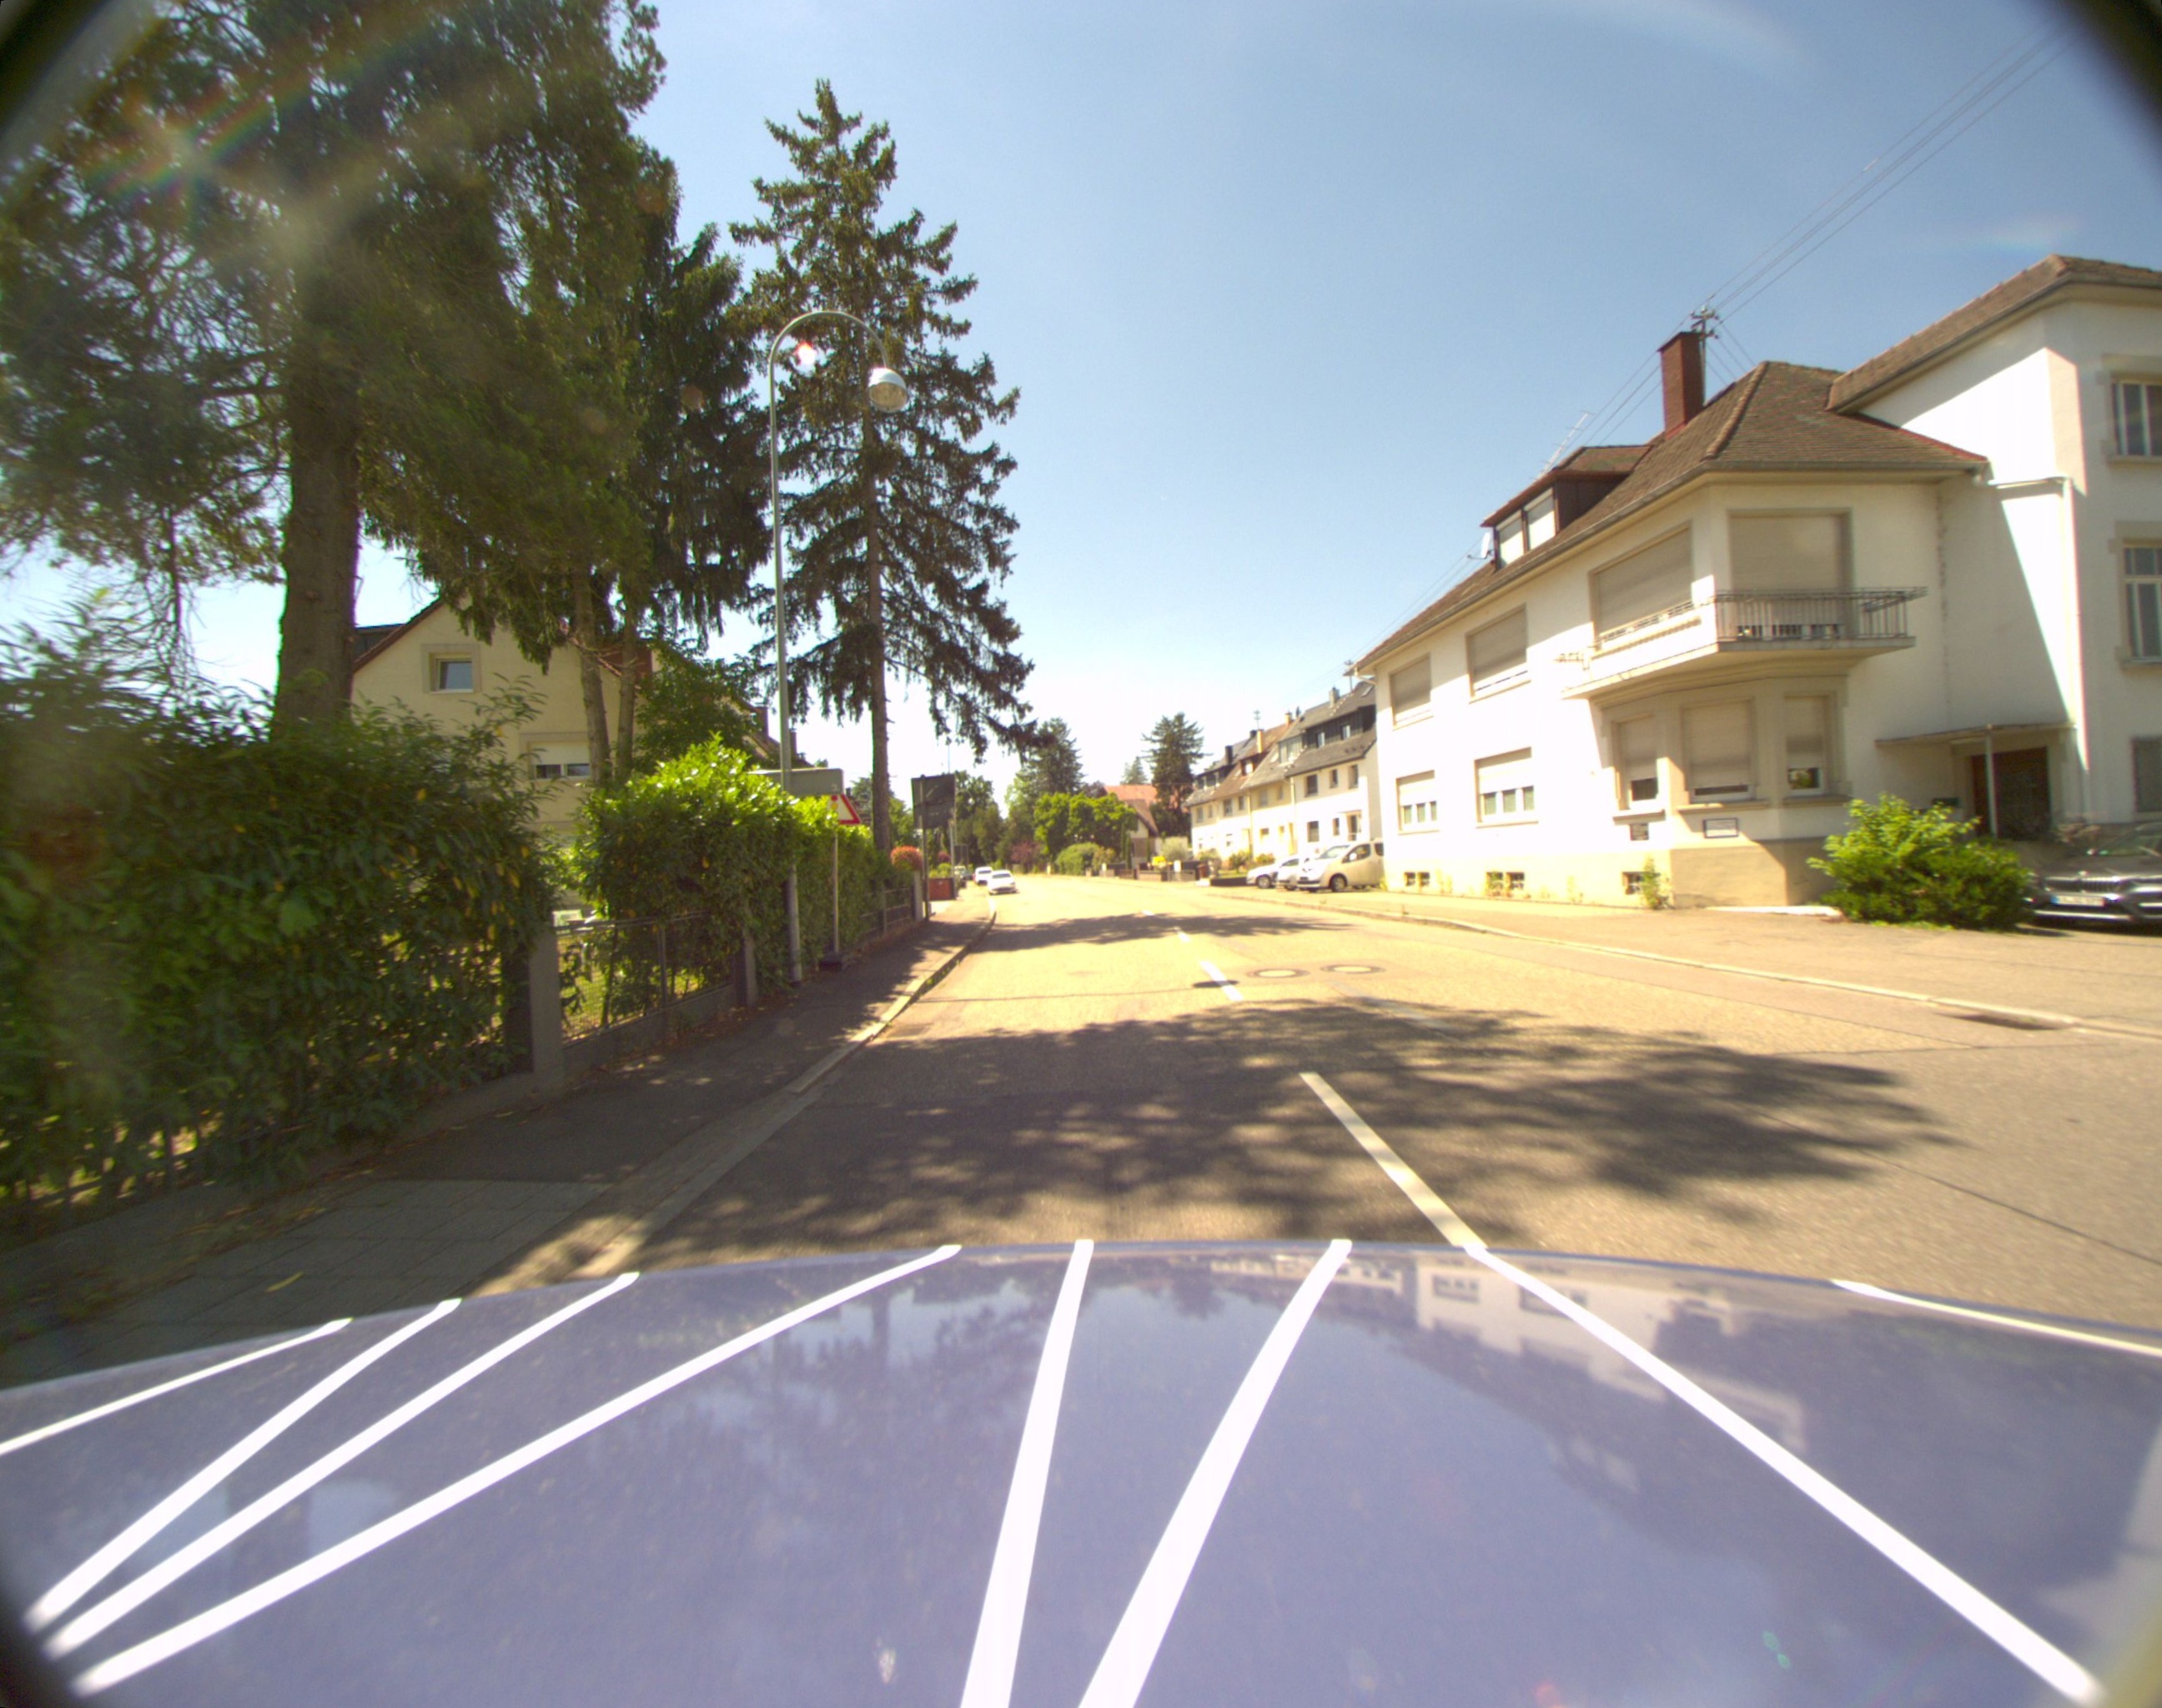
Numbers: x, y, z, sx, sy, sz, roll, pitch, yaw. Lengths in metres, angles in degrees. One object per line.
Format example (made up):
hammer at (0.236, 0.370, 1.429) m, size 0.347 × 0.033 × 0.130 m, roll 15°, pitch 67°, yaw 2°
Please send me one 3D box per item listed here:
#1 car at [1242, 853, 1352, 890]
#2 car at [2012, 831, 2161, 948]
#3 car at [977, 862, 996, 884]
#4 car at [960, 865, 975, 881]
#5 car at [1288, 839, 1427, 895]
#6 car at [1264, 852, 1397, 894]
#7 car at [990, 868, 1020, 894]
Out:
car at (9.297, 0.777, 32.680) m, size 4.264 × 1.486 × 1.880 m, roll -1°, pitch -1°, yaw 26°
car at (16.099, 0.411, 10.830) m, size 3.933 × 1.530 × 1.565 m, roll -3°, pitch -2°, yaw -5°
car at (-9.099, 1.825, 73.204) m, size 1.689 × 1.769 × 3.937 m, roll -4°, pitch 2°, yaw -7°
car at (-14.540, 2.424, 97.295) m, size 1.690 × 1.769 × 3.937 m, roll -4°, pitch 0°, yaw -11°
car at (9.854, 0.448, 27.180) m, size 4.367 × 1.866 × 1.848 m, roll -1°, pitch -1°, yaw -13°
car at (9.654, 0.727, 29.619) m, size 4.484 × 1.486 × 1.975 m, roll -1°, pitch -1°, yaw -4°
car at (-4.894, 1.704, 48.465) m, size 1.689 × 1.446 × 3.737 m, roll -4°, pitch 0°, yaw -8°
